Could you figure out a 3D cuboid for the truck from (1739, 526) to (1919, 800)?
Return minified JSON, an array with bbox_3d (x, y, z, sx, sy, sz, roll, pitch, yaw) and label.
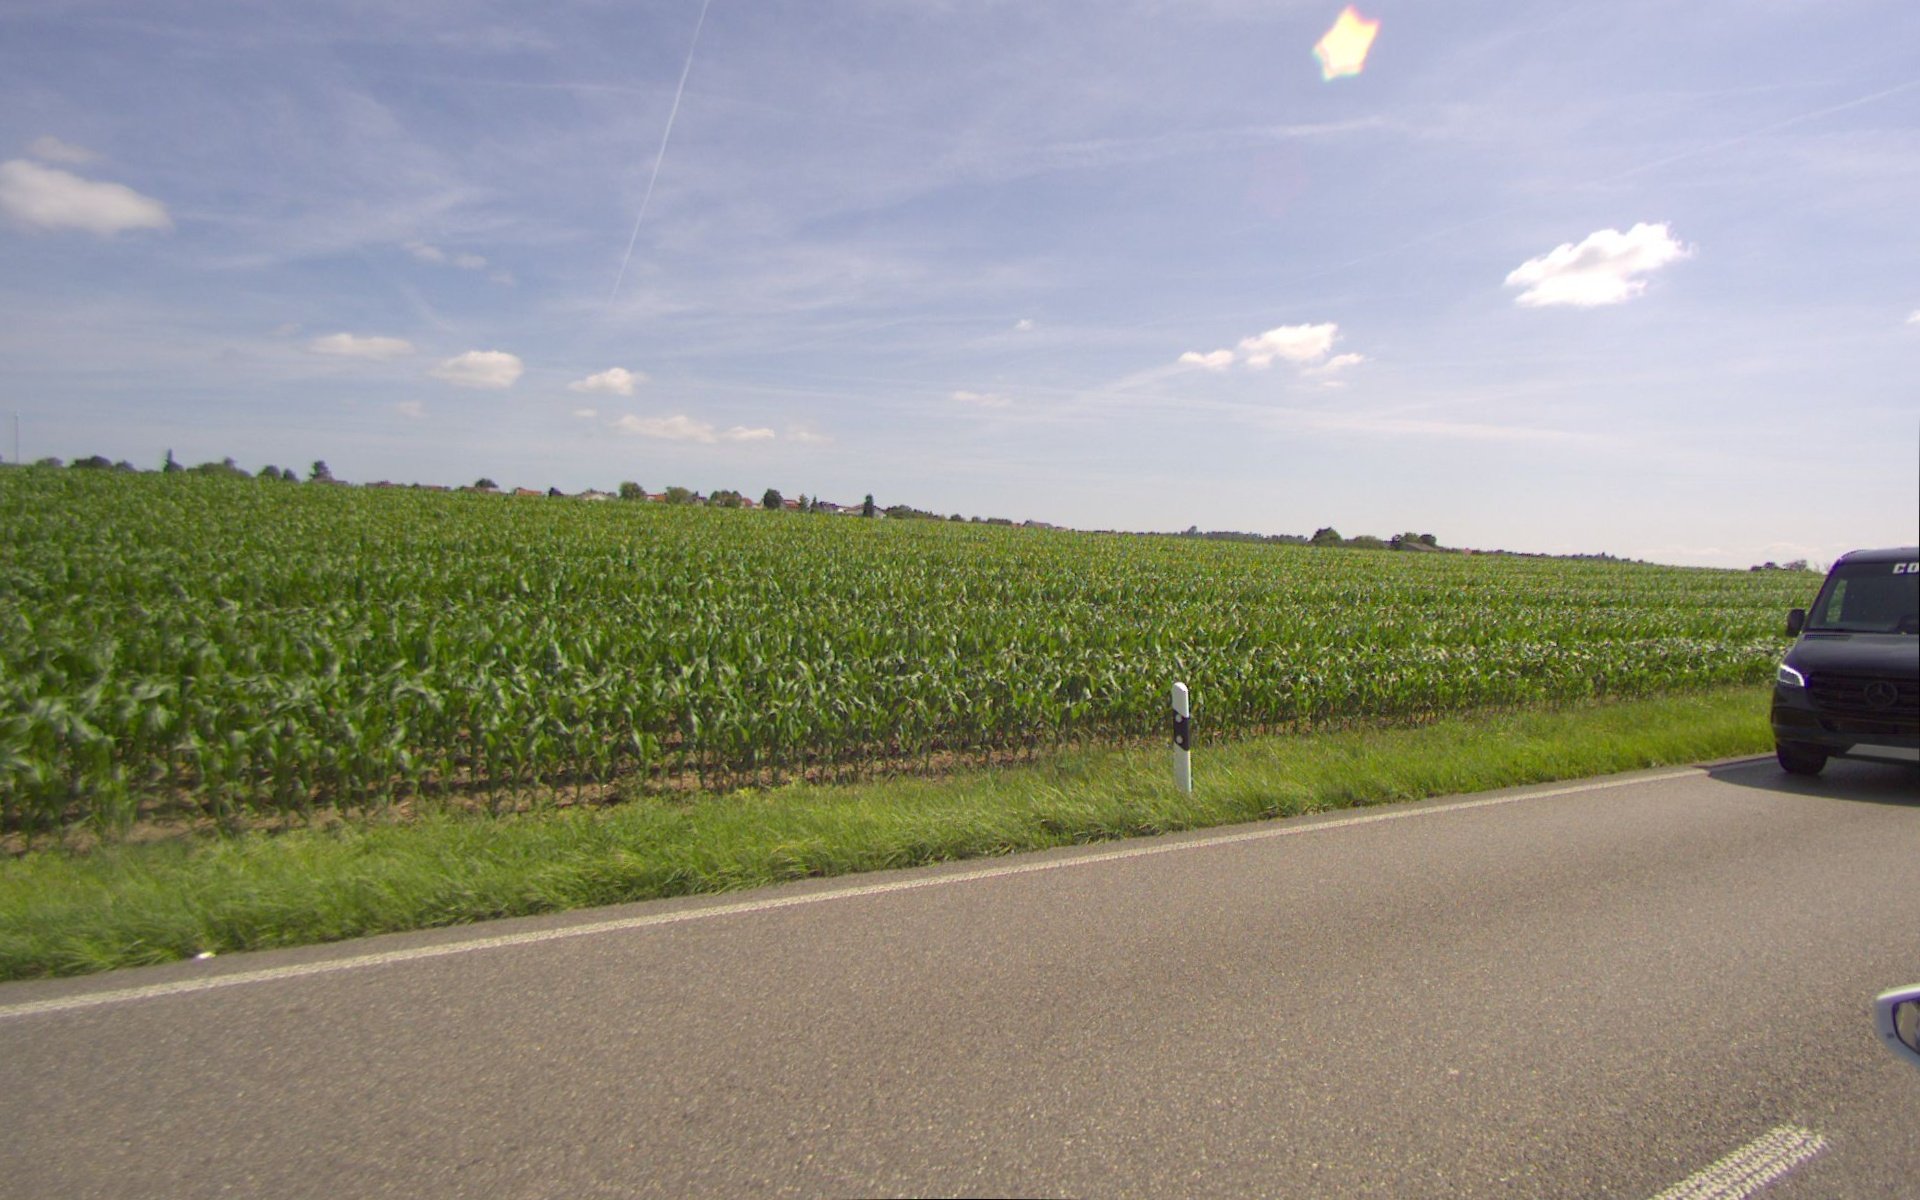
[{"bbox_3d":[10.275,0.591,10.276,5.134,2.351,1.999,1,0,-32],"label":"truck"}]
